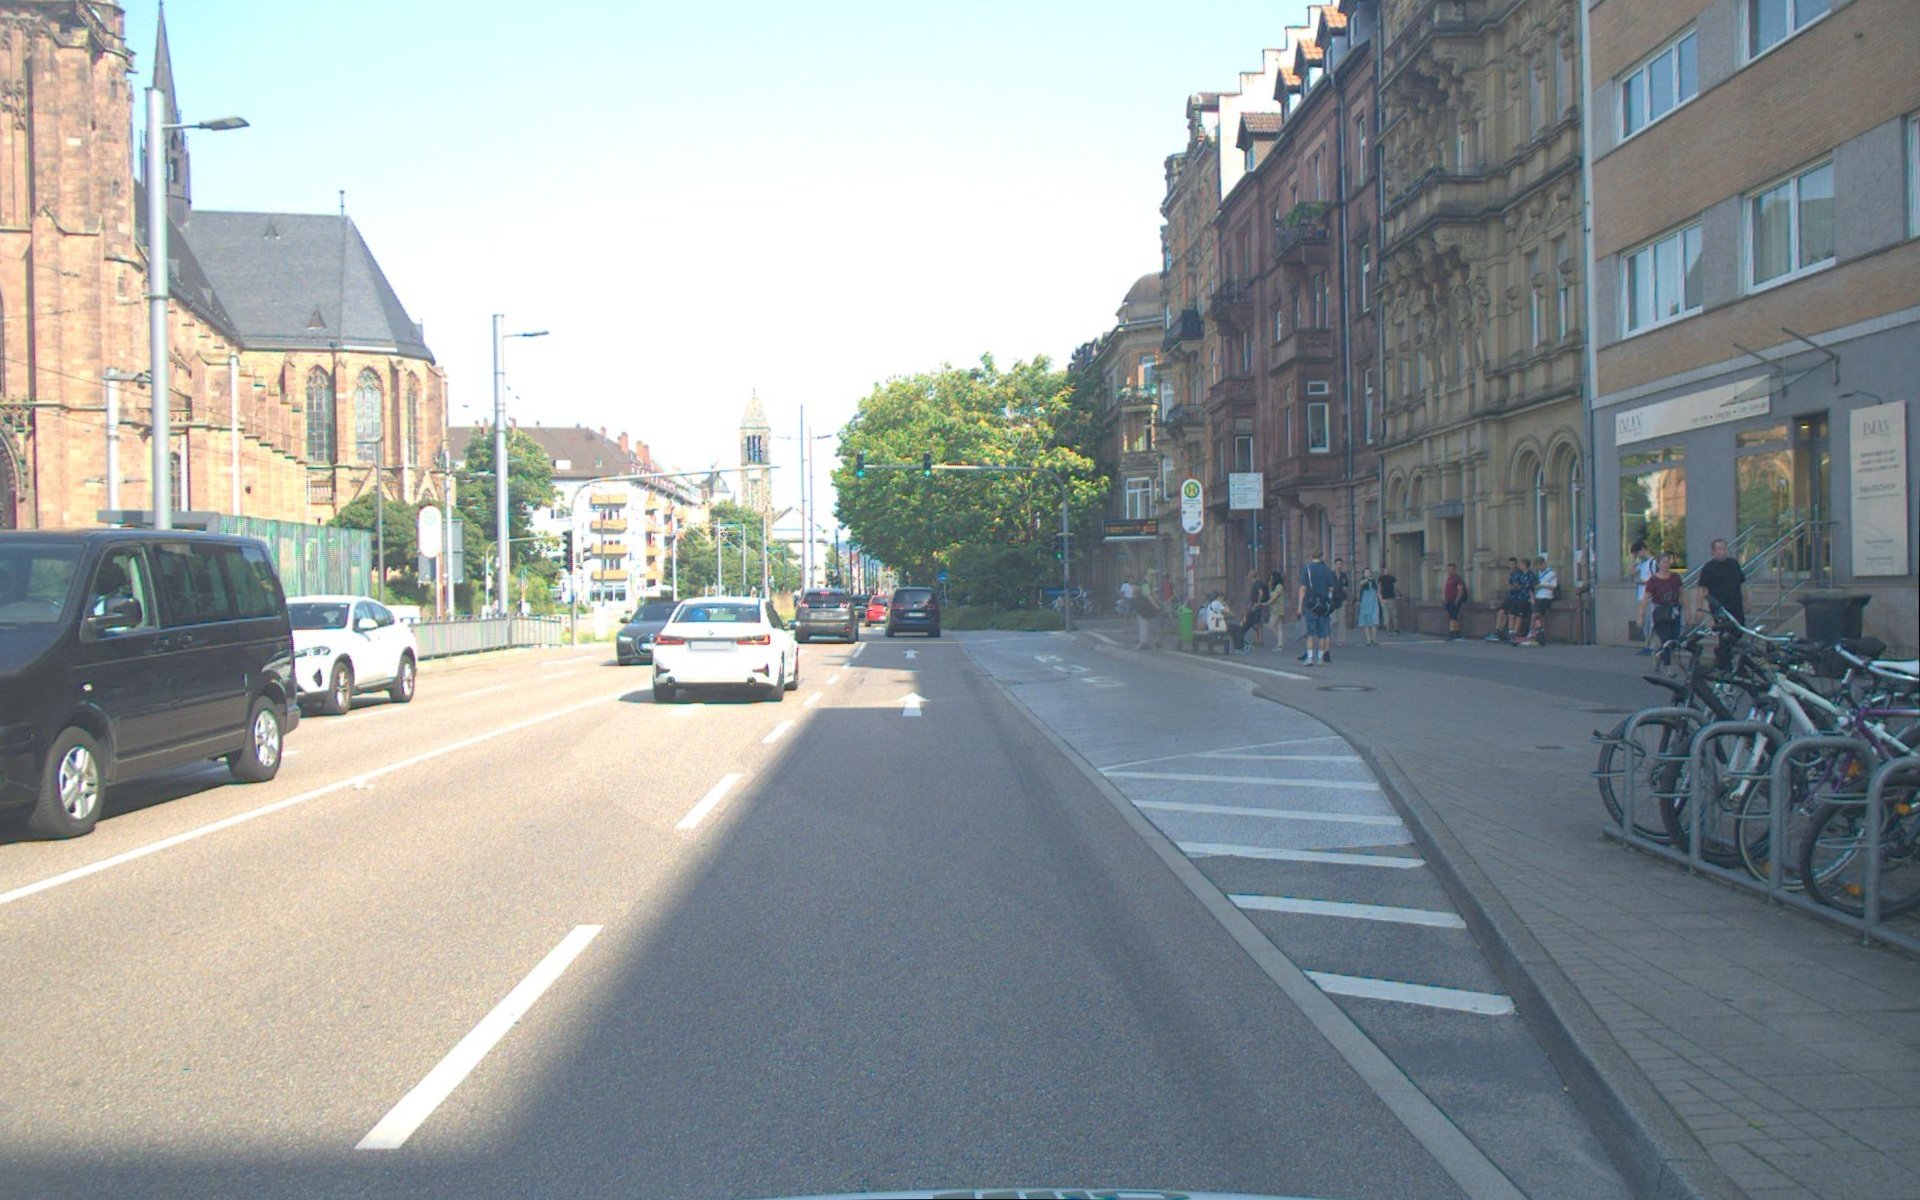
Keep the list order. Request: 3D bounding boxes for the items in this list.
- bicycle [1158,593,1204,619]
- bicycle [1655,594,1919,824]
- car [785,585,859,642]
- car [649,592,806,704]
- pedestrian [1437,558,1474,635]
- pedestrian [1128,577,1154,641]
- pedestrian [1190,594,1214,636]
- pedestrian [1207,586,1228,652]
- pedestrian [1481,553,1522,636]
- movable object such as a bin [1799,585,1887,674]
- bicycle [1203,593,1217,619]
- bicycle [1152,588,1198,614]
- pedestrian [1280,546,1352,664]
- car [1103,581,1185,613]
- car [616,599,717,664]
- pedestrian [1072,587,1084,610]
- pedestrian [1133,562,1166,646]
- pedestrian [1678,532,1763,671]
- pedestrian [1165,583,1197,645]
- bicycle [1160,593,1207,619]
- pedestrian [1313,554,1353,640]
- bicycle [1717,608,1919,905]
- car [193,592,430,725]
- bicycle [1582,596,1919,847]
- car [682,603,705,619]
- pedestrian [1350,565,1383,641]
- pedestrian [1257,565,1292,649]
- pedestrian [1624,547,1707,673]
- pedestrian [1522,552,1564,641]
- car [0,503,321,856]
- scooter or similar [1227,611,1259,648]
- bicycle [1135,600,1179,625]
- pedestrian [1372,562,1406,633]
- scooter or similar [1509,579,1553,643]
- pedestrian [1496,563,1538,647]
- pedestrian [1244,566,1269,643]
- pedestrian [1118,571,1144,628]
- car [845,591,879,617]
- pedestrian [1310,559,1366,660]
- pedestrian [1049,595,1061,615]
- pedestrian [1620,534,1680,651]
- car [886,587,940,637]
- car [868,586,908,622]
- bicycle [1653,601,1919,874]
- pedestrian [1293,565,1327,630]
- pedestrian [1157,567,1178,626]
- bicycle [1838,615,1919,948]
[{"bbox_3d":[9.442,0.262,70.747,1.891,1.066,0.499,-1,0,-8],"label":"bicycle"},{"bbox_3d":[4.721,0.572,9.008,1.599,1.168,0.601,-1,0,0],"label":"bicycle"},{"bbox_3d":[-4.141,0.378,50.198,1.953,1.649,4.356,0,0,-1],"label":"car"},{"bbox_3d":[-3.319,0.627,24.421,1.772,1.452,4.773,1,0,-2],"label":"car"},{"bbox_3d":[11.001,-0.071,36.740,0.591,1.683,0.586,-1,0,-5],"label":"pedestrian"},{"bbox_3d":[4.696,0.234,42.980,0.518,1.640,0.702,-1,0,-5],"label":"pedestrian"},{"bbox_3d":[4.902,0.308,33.500,0.297,0.834,0.603,-1,0,-9],"label":"pedestrian"},{"bbox_3d":[5.074,0.372,32.573,0.270,1.296,0.447,-1,0,-8],"label":"pedestrian"},{"bbox_3d":[11.373,-0.110,34.751,0.591,1.721,0.586,-1,0,-5],"label":"pedestrian"},{"bbox_3d":[11.312,0.366,21.196,0.725,1.099,0.666,-1,0,-19],"label":"movable object such as a bin"},{"bbox_3d":[10.312,0.246,68.200,0.408,1.066,1.671,-1,0,3],"label":"bicycle"},{"bbox_3d":[9.292,0.021,71.374,1.891,1.066,0.499,-1,0,-8],"label":"bicycle"},{"bbox_3d":[5.746,0.072,26.725,0.907,1.863,0.800,-1,0,-5],"label":"pedestrian"},{"bbox_3d":[9.915,-0.169,89.331,4.100,1.590,1.997,-1,0,-6],"label":"car"},{"bbox_3d":[-6.868,0.705,39.086,1.679,1.354,4.519,-3,0,-2],"label":"car"},{"bbox_3d":[6.631,-0.076,92.852,0.586,1.270,0.506,-1,0,-2],"label":"pedestrian"},{"bbox_3d":[4.074,0.081,35.579,0.554,1.759,0.744,-1,0,-5],"label":"pedestrian"},{"bbox_3d":[10.219,0.021,22.237,0.705,1.818,0.856,-1,0,-1],"label":"pedestrian"},{"bbox_3d":[4.747,0.293,35.540,0.554,1.300,0.596,-1,0,-6],"label":"pedestrian"},{"bbox_3d":[9.459,0.254,70.015,1.891,1.066,0.499,-1,0,-8],"label":"bicycle"},{"bbox_3d":[8.114,-0.068,36.007,0.604,1.835,1.071,-1,0,-1],"label":"pedestrian"},{"bbox_3d":[4.049,0.622,6.942,1.601,1.168,0.385,-2,0,-7],"label":"bicycle"},{"bbox_3d":[-9.143,0.748,23.720,1.679,1.639,4.503,-3,0,-2],"label":"car"},{"bbox_3d":[3.978,0.585,8.272,1.601,1.168,0.385,-2,0,-7],"label":"bicycle"},{"bbox_3d":[-27.946,1.156,173.616,1.954,1.526,3.997,-1,0,-4],"label":"car"},{"bbox_3d":[8.934,0.065,36.359,0.476,1.638,0.812,-1,0,-1],"label":"pedestrian"},{"bbox_3d":[6.741,0.145,35.476,0.554,1.759,0.617,-1,0,-5],"label":"pedestrian"},{"bbox_3d":[9.468,0.130,22.221,0.705,1.638,0.856,-1,0,-1],"label":"pedestrian"},{"bbox_3d":[11.650,-0.069,33.061,0.591,1.761,0.510,-1,0,-5],"label":"pedestrian"},{"bbox_3d":[-6.270,0.469,11.396,1.953,1.937,4.714,-3,0,-2],"label":"car"},{"bbox_3d":[6.052,0.629,35.399,0.554,0.754,0.514,-1,0,-5],"label":"scooter or similar"},{"bbox_3d":[8.978,0.557,75.390,1.891,1.066,0.526,-1,0,-8],"label":"bicycle"},{"bbox_3d":[10.796,-0.071,41.646,0.617,1.749,0.690,-1,0,-2],"label":"pedestrian"},{"bbox_3d":[10.978,0.204,31.825,0.353,1.183,1.151,-1,0,-4],"label":"scooter or similar"},{"bbox_3d":[11.486,0.099,34.108,0.591,1.721,0.586,-1,0,-5],"label":"pedestrian"},{"bbox_3d":[6.925,0.100,38.658,0.334,1.763,0.805,-1,0,-5],"label":"pedestrian"},{"bbox_3d":[5.163,-0.017,50.076,0.676,1.693,0.619,-1,0,-1],"label":"pedestrian"},{"bbox_3d":[-5.692,0.227,96.257,1.826,1.449,4.356,0,0,-1],"label":"car"},{"bbox_3d":[6.746,0.158,29.545,0.735,1.759,0.800,-1,0,-5],"label":"pedestrian"},{"bbox_3d":[5.237,0.261,90.937,0.439,1.089,0.482,-1,0,-32],"label":"pedestrian"},{"bbox_3d":[11.274,-0.124,27.031,0.591,1.863,0.741,-1,0,-5],"label":"pedestrian"},{"bbox_3d":[-1.617,0.386,57.227,1.794,1.649,4.356,0,0,-1],"label":"car"},{"bbox_3d":[-3.347,0.166,77.384,1.794,1.649,4.356,0,0,-1],"label":"car"},{"bbox_3d":[4.049,0.602,7.586,1.601,1.168,0.385,-2,0,-7],"label":"bicycle"},{"bbox_3d":[9.488,-0.070,44.866,0.687,1.754,0.897,-1,0,-2],"label":"pedestrian"},{"bbox_3d":[6.234,-0.103,49.699,0.472,1.731,0.702,-1,0,-5],"label":"pedestrian"},{"bbox_3d":[4.147,0.629,6.152,1.601,1.168,0.385,-2,0,-7],"label":"bicycle"}]
